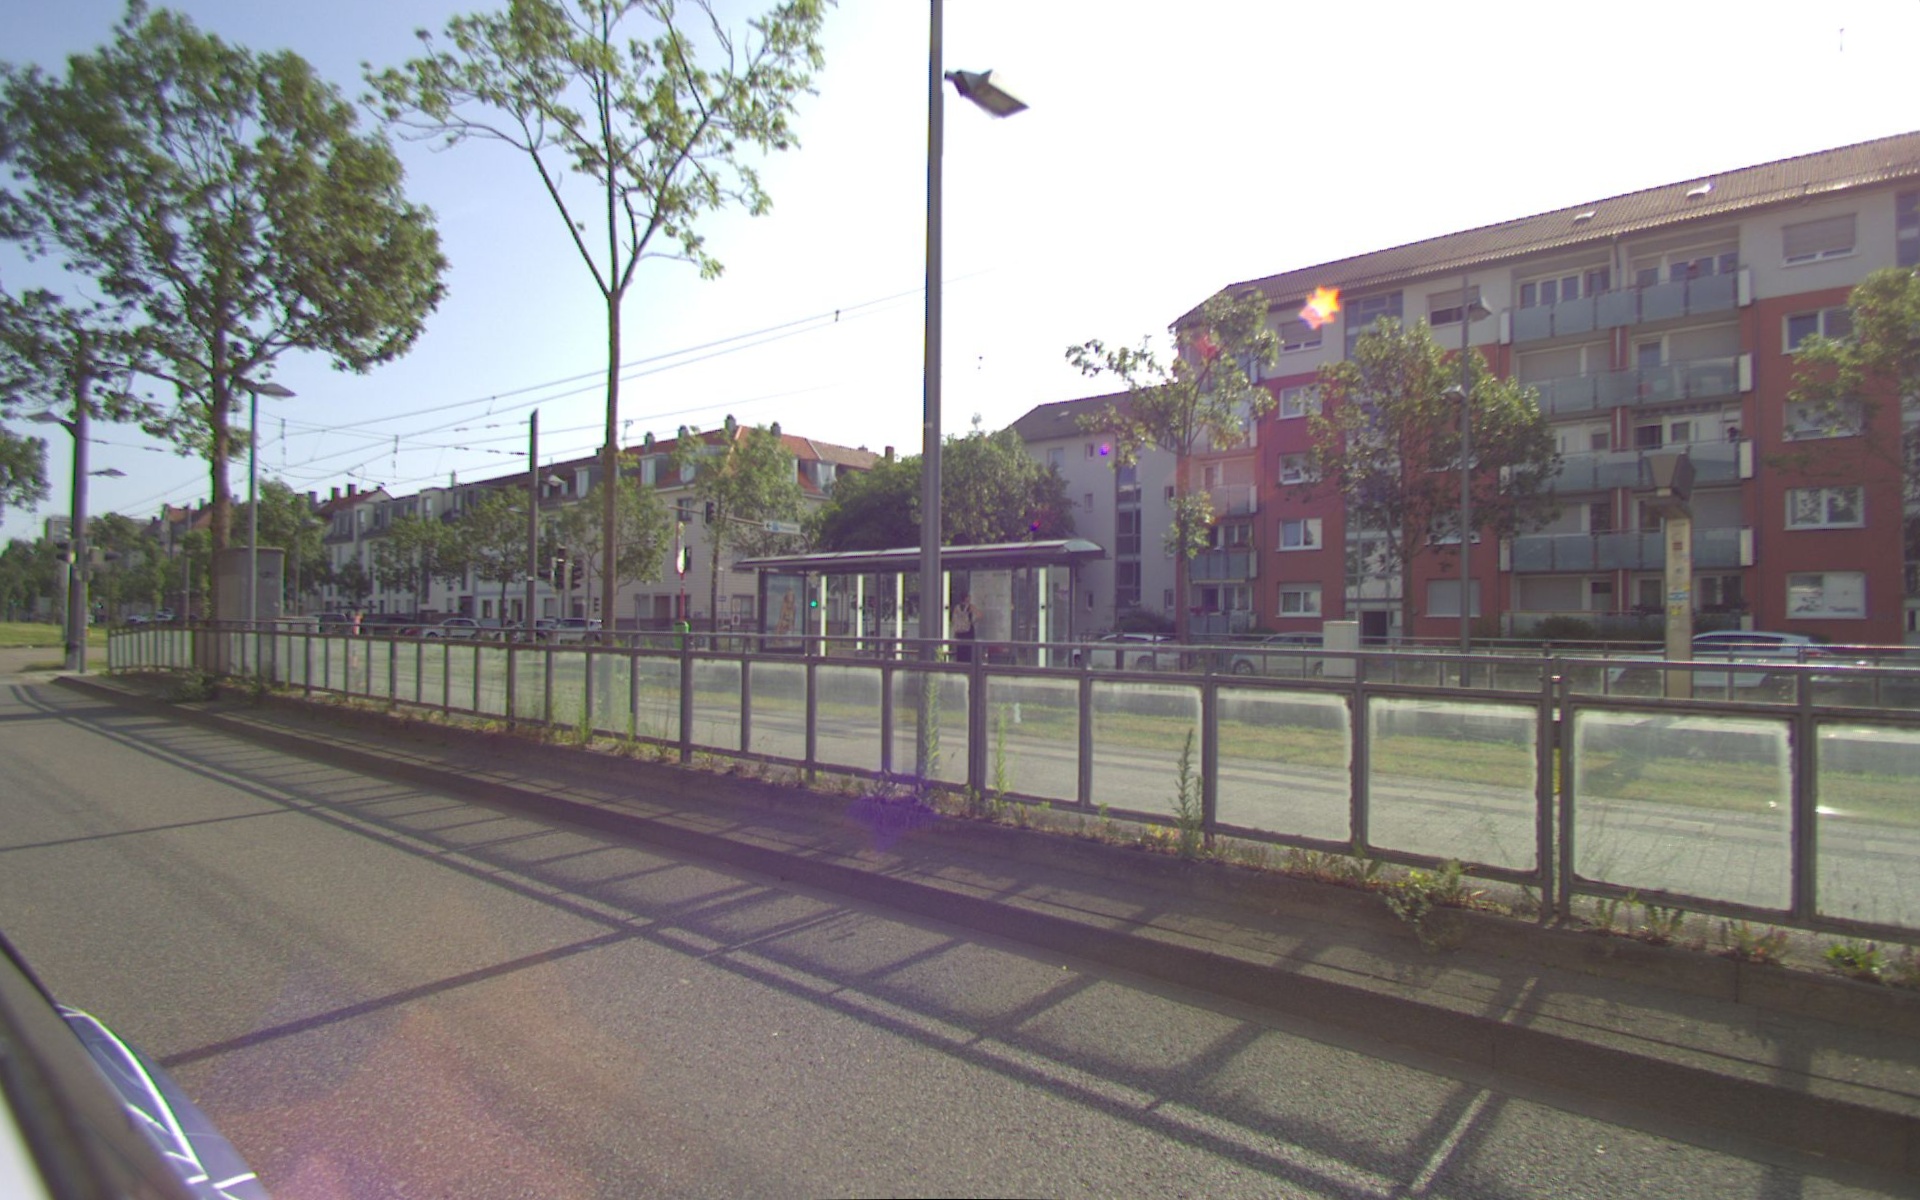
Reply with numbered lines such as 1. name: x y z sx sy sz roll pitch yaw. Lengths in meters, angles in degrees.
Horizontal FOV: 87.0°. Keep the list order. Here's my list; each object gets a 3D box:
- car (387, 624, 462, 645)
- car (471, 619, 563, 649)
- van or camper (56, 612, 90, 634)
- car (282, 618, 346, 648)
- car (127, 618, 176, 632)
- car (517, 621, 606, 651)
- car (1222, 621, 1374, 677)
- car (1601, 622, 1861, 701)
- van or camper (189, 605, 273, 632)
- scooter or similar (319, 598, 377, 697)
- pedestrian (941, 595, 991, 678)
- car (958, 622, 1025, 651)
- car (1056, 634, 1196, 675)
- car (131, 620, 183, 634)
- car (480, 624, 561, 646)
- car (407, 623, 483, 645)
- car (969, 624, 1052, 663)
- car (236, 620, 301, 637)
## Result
1. car: -34.160 2.227 64.687 3.932 1.268 1.881 2 -3 -16
2. car: -24.518 1.868 56.179 4.390 1.526 2.005 -1 0 -13
3. van or camper: -106.247 2.724 121.134 6.055 2.493 2.119 -1 -3 41
4. car: -40.488 2.038 63.379 4.709 1.719 1.973 0 -5 40
5. car: -93.966 2.872 117.641 4.031 1.541 1.817 -1 0 -12
6. car: -21.237 1.883 54.100 4.279 1.474 1.969 -1 0 -16
7. car: 9.842 1.386 29.591 3.824 1.482 1.815 -1 0 40
8. car: 17.380 1.308 23.005 4.534 1.568 1.961 -1 0 40
9. van or camper: -69.768 1.777 96.959 6.060 2.566 2.420 0 -1 -12
10. scooter or similar: -8.095 0.620 13.418 0.420 1.248 1.266 2 -2 -22
11. pedestrian: 0.124 0.745 20.907 0.793 1.665 0.665 0 -2 36
12. car: 1.976 2.199 62.274 1.999 1.618 3.943 -1 0 43
13. car: 5.379 1.740 33.073 4.161 1.156 1.815 -1 0 40
14. car: -91.807 3.103 115.784 4.294 1.486 1.862 -1 0 -12
15. car: -25.314 1.995 58.394 3.936 1.187 2.004 -1 0 -8
16. car: -31.822 2.081 62.637 3.931 1.279 1.893 -1 0 -19
17. car: 2.475 2.047 48.937 1.999 1.708 3.945 -1 0 41
18. car: -60.236 2.474 88.219 4.324 1.330 1.739 -1 0 -16
